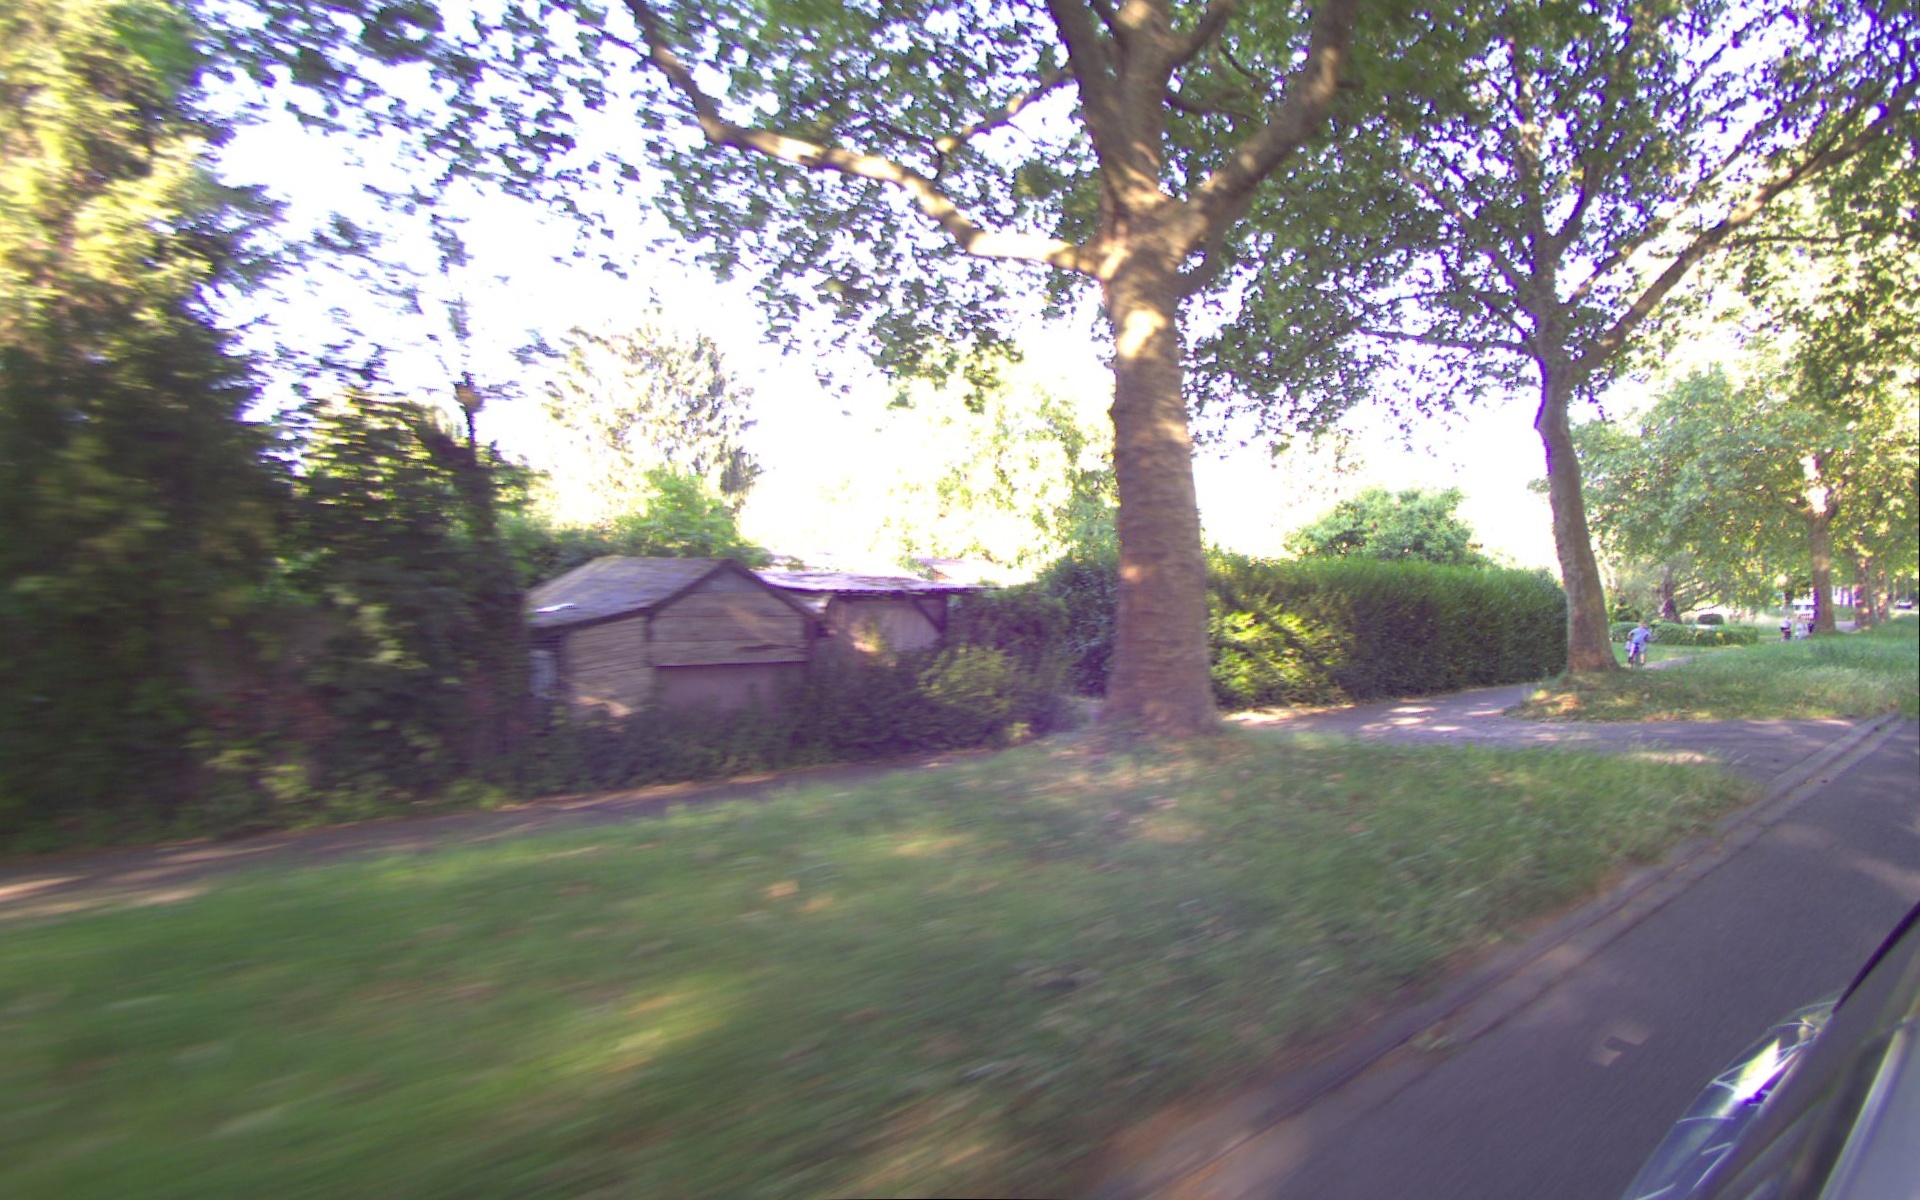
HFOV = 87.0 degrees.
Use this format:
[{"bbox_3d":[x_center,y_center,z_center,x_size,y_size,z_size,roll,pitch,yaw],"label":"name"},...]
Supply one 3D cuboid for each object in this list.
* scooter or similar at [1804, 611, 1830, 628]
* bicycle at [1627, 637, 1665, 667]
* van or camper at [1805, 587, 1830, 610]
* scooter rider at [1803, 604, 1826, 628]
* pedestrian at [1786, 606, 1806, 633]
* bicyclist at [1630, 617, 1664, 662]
[{"bbox_3d":[57.071,1.305,67.399,1.567,1.149,0.341,0,0,-8],"label":"scooter or similar"},{"bbox_3d":[21.842,1.637,32.201,1.856,0.827,0.553,-1,1,-41],"label":"bicycle"},{"bbox_3d":[106.749,-0.217,125.981,2.378,2.835,5.602,0,1,41],"label":"van or camper"},{"bbox_3d":[56.850,1.043,67.350,0.827,1.596,0.786,0,-1,-11],"label":"scooter rider"},{"bbox_3d":[51.877,1.205,62.834,0.771,1.596,0.844,-1,0,-40],"label":"pedestrian"},{"bbox_3d":[21.841,1.248,32.176,0.758,1.383,0.735,-1,0,-43],"label":"bicyclist"}]
